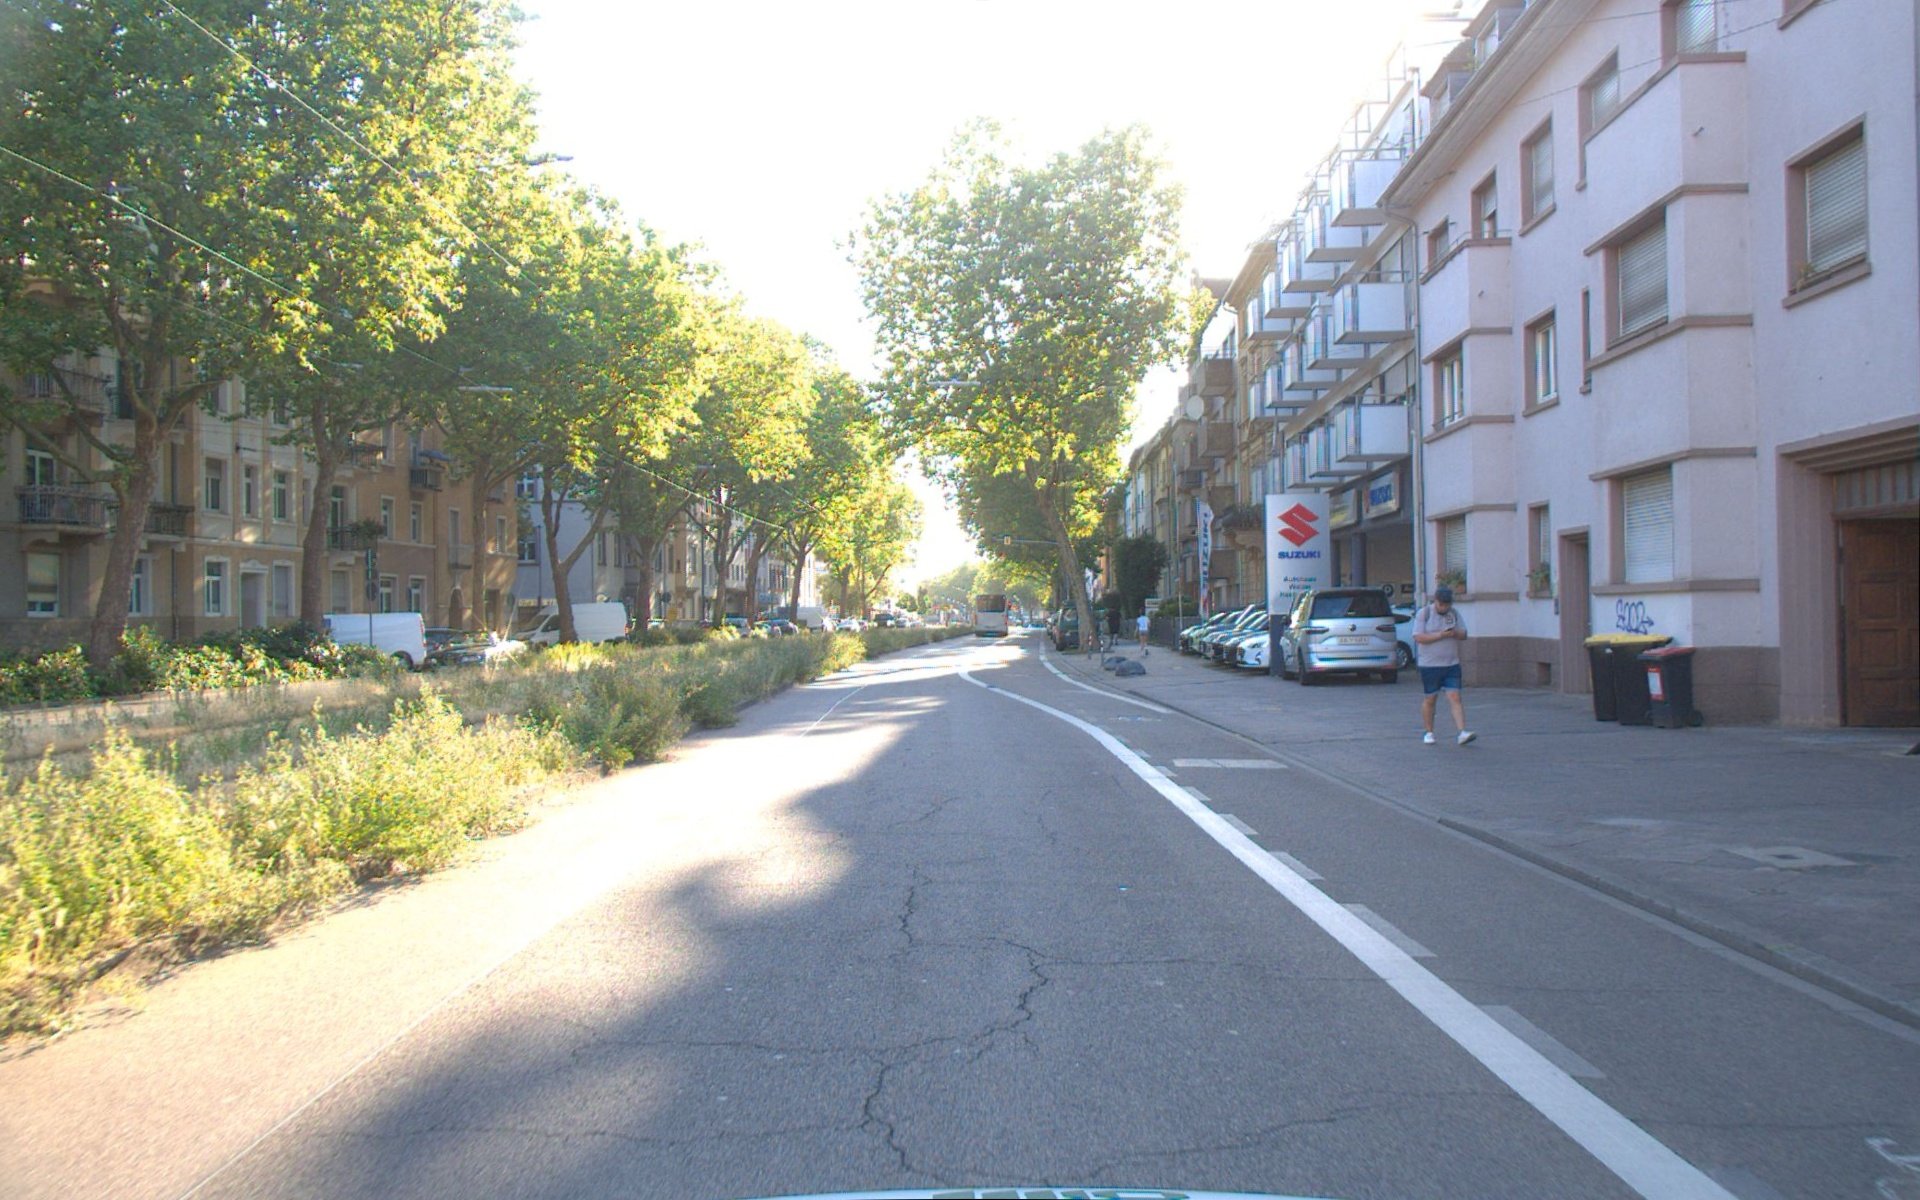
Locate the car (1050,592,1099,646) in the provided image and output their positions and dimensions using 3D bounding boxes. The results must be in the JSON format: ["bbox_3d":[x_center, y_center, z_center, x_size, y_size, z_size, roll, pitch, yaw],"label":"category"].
[{"bbox_3d":[5.071,0.880,73.813,1.952,2.297,5.235,-1,-1,1],"label":"car"}]

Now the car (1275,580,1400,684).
[{"bbox_3d":[7.750,0.676,34.410,1.852,1.983,4.903,-1,-1,5],"label":"car"}]

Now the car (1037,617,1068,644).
[{"bbox_3d":[6.417,2.133,114.264,1.707,1.801,4.397,-1,-1,9],"label":"car"}]

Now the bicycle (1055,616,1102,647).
[{"bbox_3d":[4.659,1.237,65.132,1.806,1.163,0.348,-1,-2,2],"label":"bicycle"}]

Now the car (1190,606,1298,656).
[{"bbox_3d":[9.382,1.028,54.824,3.346,1.545,1.758,-1,-2,4],"label":"car"}]

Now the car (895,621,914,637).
[{"bbox_3d":[-6.072,3.176,182.025,1.753,1.601,4.001,-1,-1,3],"label":"car"}]

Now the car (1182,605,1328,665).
[{"bbox_3d":[8.189,0.963,46.106,3.740,1.567,1.859,-1,-1,0],"label":"car"}]

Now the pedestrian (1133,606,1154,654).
[{"bbox_3d":[6.466,1.066,58.413,0.649,1.657,0.923,-1,-2,2],"label":"pedestrian"}]

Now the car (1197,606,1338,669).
[{"bbox_3d":[8.092,0.984,43.746,3.349,1.552,1.740,-1,-1,-2],"label":"car"}]

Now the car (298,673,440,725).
[{"bbox_3d":[-19.705,3.270,55.218,4.137,1.517,1.697,-1,-1,-40],"label":"car"}]

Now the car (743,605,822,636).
[{"bbox_3d":[-16.130,1.870,150.543,6.831,2.725,2.174,-1,-2,-19],"label":"car"}]

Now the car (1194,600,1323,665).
[{"bbox_3d":[8.653,0.937,48.105,3.505,1.750,1.683,-1,1,4],"label":"car"}]

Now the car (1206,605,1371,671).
[{"bbox_3d":[8.227,0.929,41.623,3.789,1.540,1.809,-1,0,1],"label":"car"}]

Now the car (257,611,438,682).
[{"bbox_3d":[-19.553,1.437,52.970,5.197,2.102,1.697,-1,-1,-40],"label":"car"}]

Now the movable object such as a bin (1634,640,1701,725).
[{"bbox_3d":[8.404,0.978,19.670,0.542,0.986,0.585,-1,-2,4],"label":"movable object such as a bin"}]

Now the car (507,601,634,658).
[{"bbox_3d":[-18.369,1.359,78.156,5.457,2.573,2.095,-1,-1,-40],"label":"car"}]

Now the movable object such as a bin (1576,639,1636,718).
[{"bbox_3d":[8.229,0.994,21.093,0.542,0.986,0.585,-1,-2,4],"label":"movable object such as a bin"}]

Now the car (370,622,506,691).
[{"bbox_3d":[-13.039,1.381,41.615,1.681,1.512,4.700,-4,-1,2],"label":"car"}]

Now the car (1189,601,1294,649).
[{"bbox_3d":[9.745,0.870,57.369,3.348,1.574,1.442,-1,-2,0],"label":"car"}]

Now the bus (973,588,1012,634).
[{"bbox_3d":[2.432,0.896,126.914,2.775,3.292,8.181,-1,-1,0],"label":"bus"}]

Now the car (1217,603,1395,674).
[{"bbox_3d":[8.102,0.885,38.908,3.735,1.527,1.912,-1,0,-3],"label":"car"}]

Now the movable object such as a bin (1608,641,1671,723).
[{"bbox_3d":[8.342,1.002,20.325,0.542,0.986,0.585,-1,-2,4],"label":"movable object such as a bin"}]

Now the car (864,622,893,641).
[{"bbox_3d":[-7.583,2.945,154.054,1.829,1.723,4.779,-1,-1,8],"label":"car"}]

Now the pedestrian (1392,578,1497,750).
[{"bbox_3d":[5.406,0.707,18.538,0.811,1.844,1.150,-1,-2,1],"label":"pedestrian"}]

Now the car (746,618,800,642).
[{"bbox_3d":[-15.208,2.452,134.831,3.944,1.728,1.838,-3,-1,-29],"label":"car"}]
